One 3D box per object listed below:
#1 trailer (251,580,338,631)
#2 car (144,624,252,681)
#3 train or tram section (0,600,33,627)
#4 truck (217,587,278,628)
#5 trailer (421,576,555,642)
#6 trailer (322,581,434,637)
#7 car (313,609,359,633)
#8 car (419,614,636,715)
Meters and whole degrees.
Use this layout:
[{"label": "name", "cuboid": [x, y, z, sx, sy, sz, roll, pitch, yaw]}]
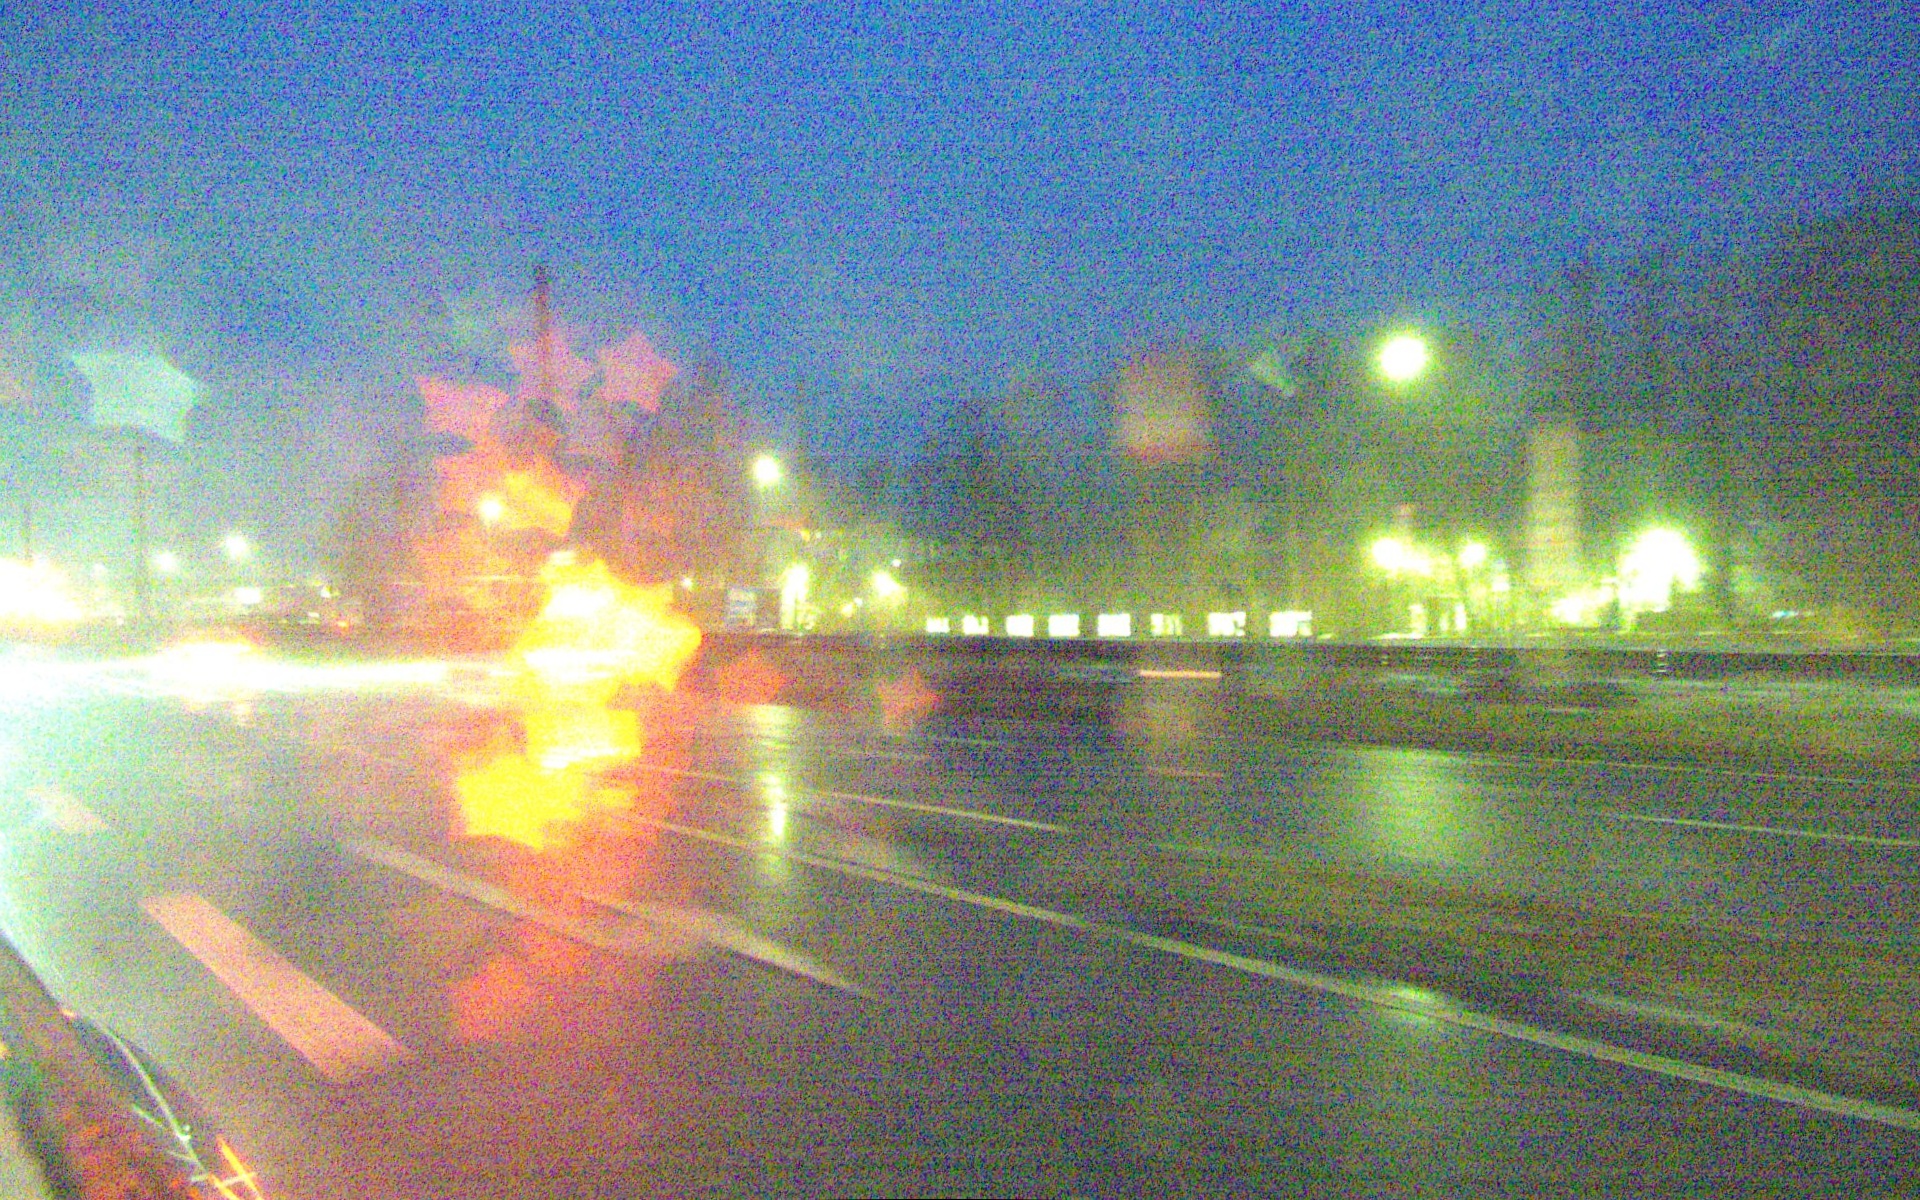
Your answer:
[{"label": "trailer", "cuboid": [-73.480, 0.564, 111.462, 14.828, 5.049, 3.931, 0, 4, 41]}, {"label": "car", "cuboid": [-24.153, 1.603, 32.024, 4.026, 1.600, 1.784, -1, 1, 39]}, {"label": "train or tram section", "cuboid": [-159.103, 2.109, 168.758, 37.132, 3.842, 2.669, 0, 4, 42]}, {"label": "truck", "cuboid": [-86.427, 0.889, 122.660, 10.208, 4.643, 3.404, 0, 4, 41]}, {"label": "trailer", "cuboid": [-37.350, 0.637, 79.701, 14.241, 4.643, 3.931, 0, 4, 41]}, {"label": "trailer", "cuboid": [-54.205, 0.798, 93.852, 15.508, 4.643, 3.931, 0, 4, 41]}, {"label": "car", "cuboid": [-47.997, 1.657, 77.822, 4.215, 1.706, 1.768, -2, 1, 40]}, {"label": "car", "cuboid": [-8.294, 1.144, 19.208, 4.646, 1.654, 1.744, -2, 0, 38]}]
